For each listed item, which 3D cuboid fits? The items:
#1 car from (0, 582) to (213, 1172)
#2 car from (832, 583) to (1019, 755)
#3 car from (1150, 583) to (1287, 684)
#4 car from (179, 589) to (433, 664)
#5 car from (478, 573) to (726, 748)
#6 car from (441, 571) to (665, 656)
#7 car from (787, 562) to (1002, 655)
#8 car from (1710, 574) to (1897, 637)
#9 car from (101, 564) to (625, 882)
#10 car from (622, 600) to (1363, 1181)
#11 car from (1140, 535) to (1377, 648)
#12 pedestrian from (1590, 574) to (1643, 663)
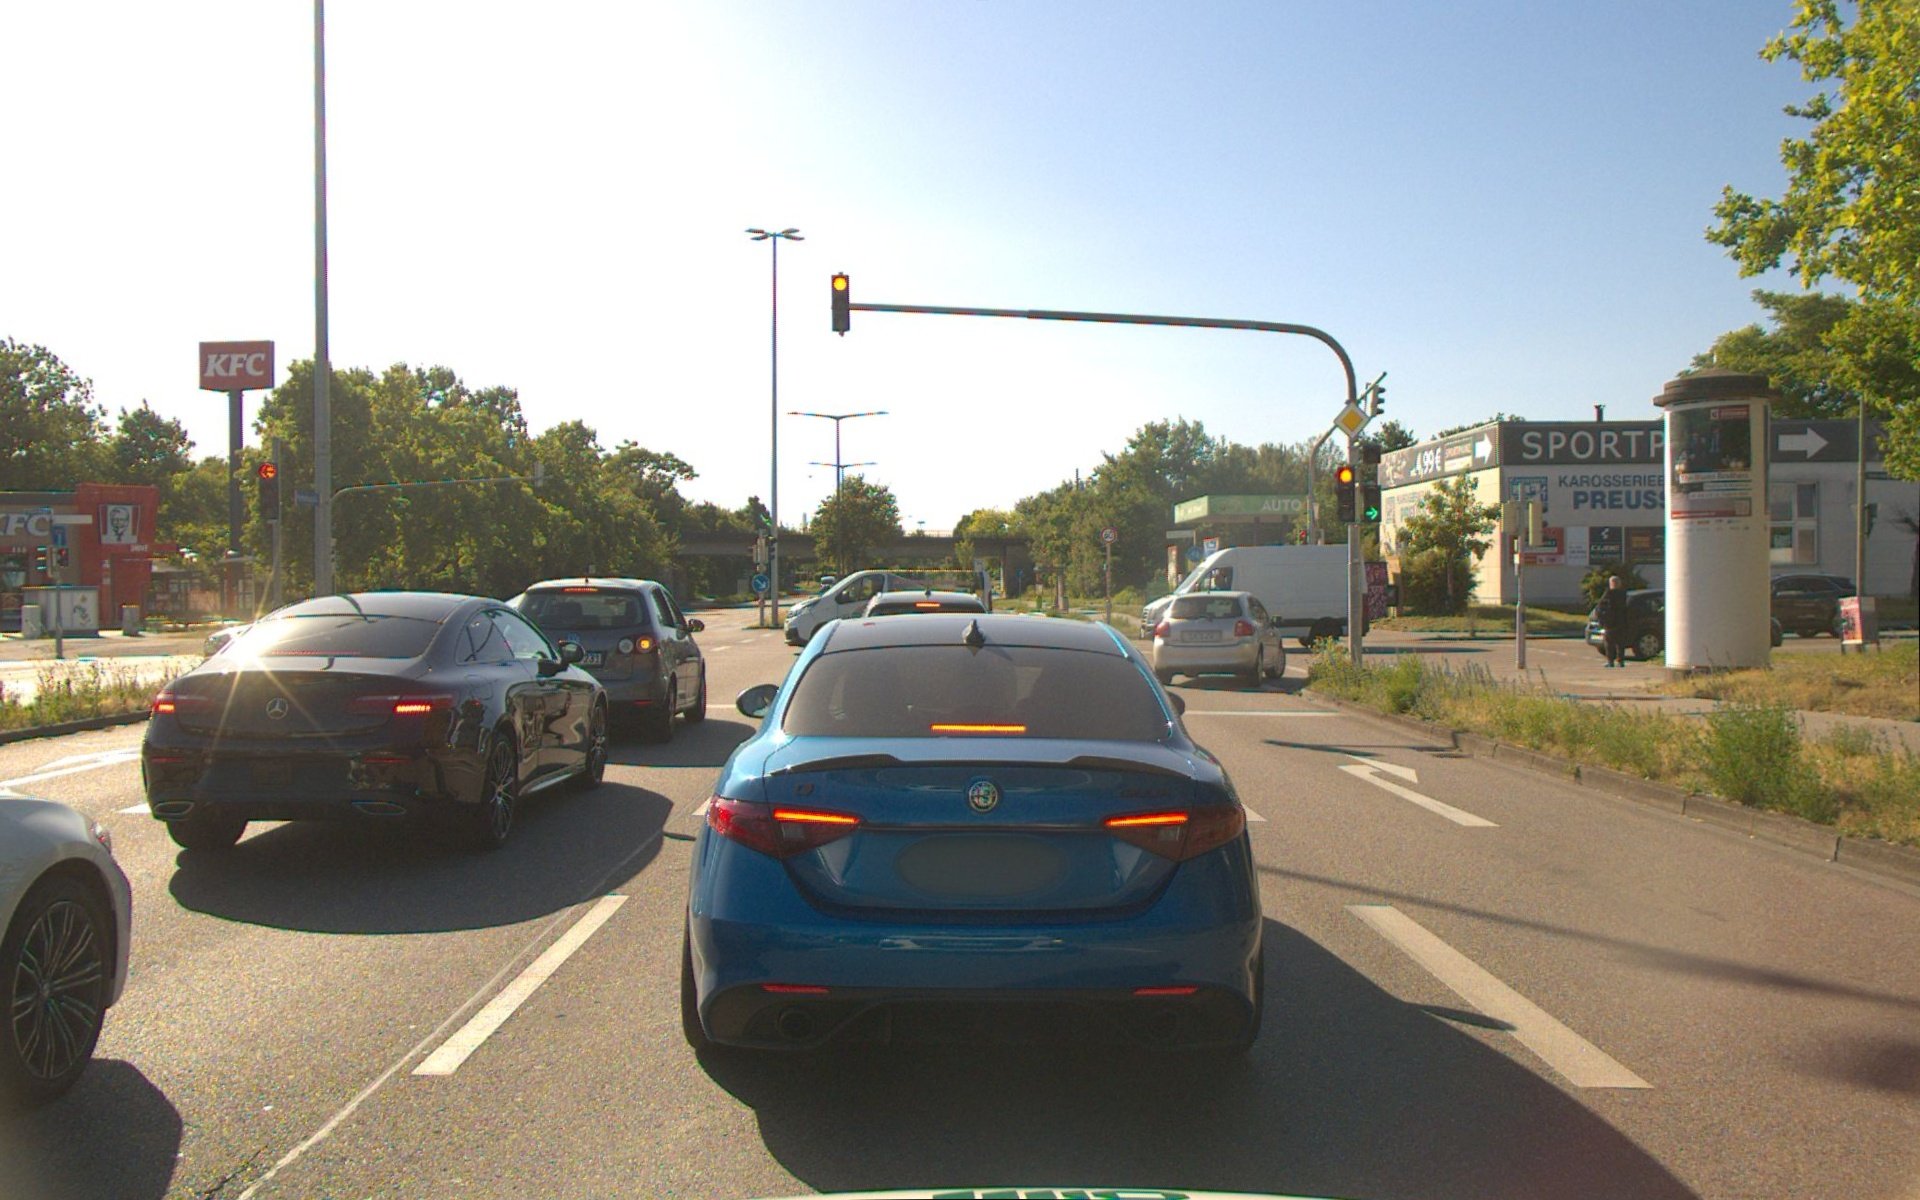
[{"bbox_3d":[-3.341,0.713,3.135,1.775,1.512,4.596,0,0,0],"label":"car"},{"bbox_3d":[-0.282,0.634,16.836,1.669,1.523,3.719,1,0,1],"label":"car"},{"bbox_3d":[4.487,0.517,28.258,1.746,1.564,4.110,1,0,17],"label":"car"},{"bbox_3d":[-13.956,0.569,35.471,4.784,1.493,1.735,1,-1,-38],"label":"car"},{"bbox_3d":[-3.589,0.568,17.333,1.776,1.578,4.351,1,0,-2],"label":"car"},{"bbox_3d":[-8.476,0.306,34.610,4.271,1.678,1.618,1,-1,-36],"label":"car"},{"bbox_3d":[-1.572,0.190,38.773,4.862,2.071,1.877,-1,0,-8],"label":"car"},{"bbox_3d":[21.855,0.140,42.964,3.905,1.534,1.878,1,0,-1],"label":"car"},{"bbox_3d":[-3.437,0.604,10.535,1.775,1.578,4.542,1,0,-1],"label":"car"},{"bbox_3d":[0.113,0.750,6.086,1.870,1.447,3.719,1,0,1],"label":"car"},{"bbox_3d":[7.640,-0.218,42.739,5.715,2.719,2.000,-1,-1,0],"label":"car"},{"bbox_3d":[12.668,0.360,31.938,0.800,1.698,0.514,1,-1,-1],"label":"pedestrian"}]
